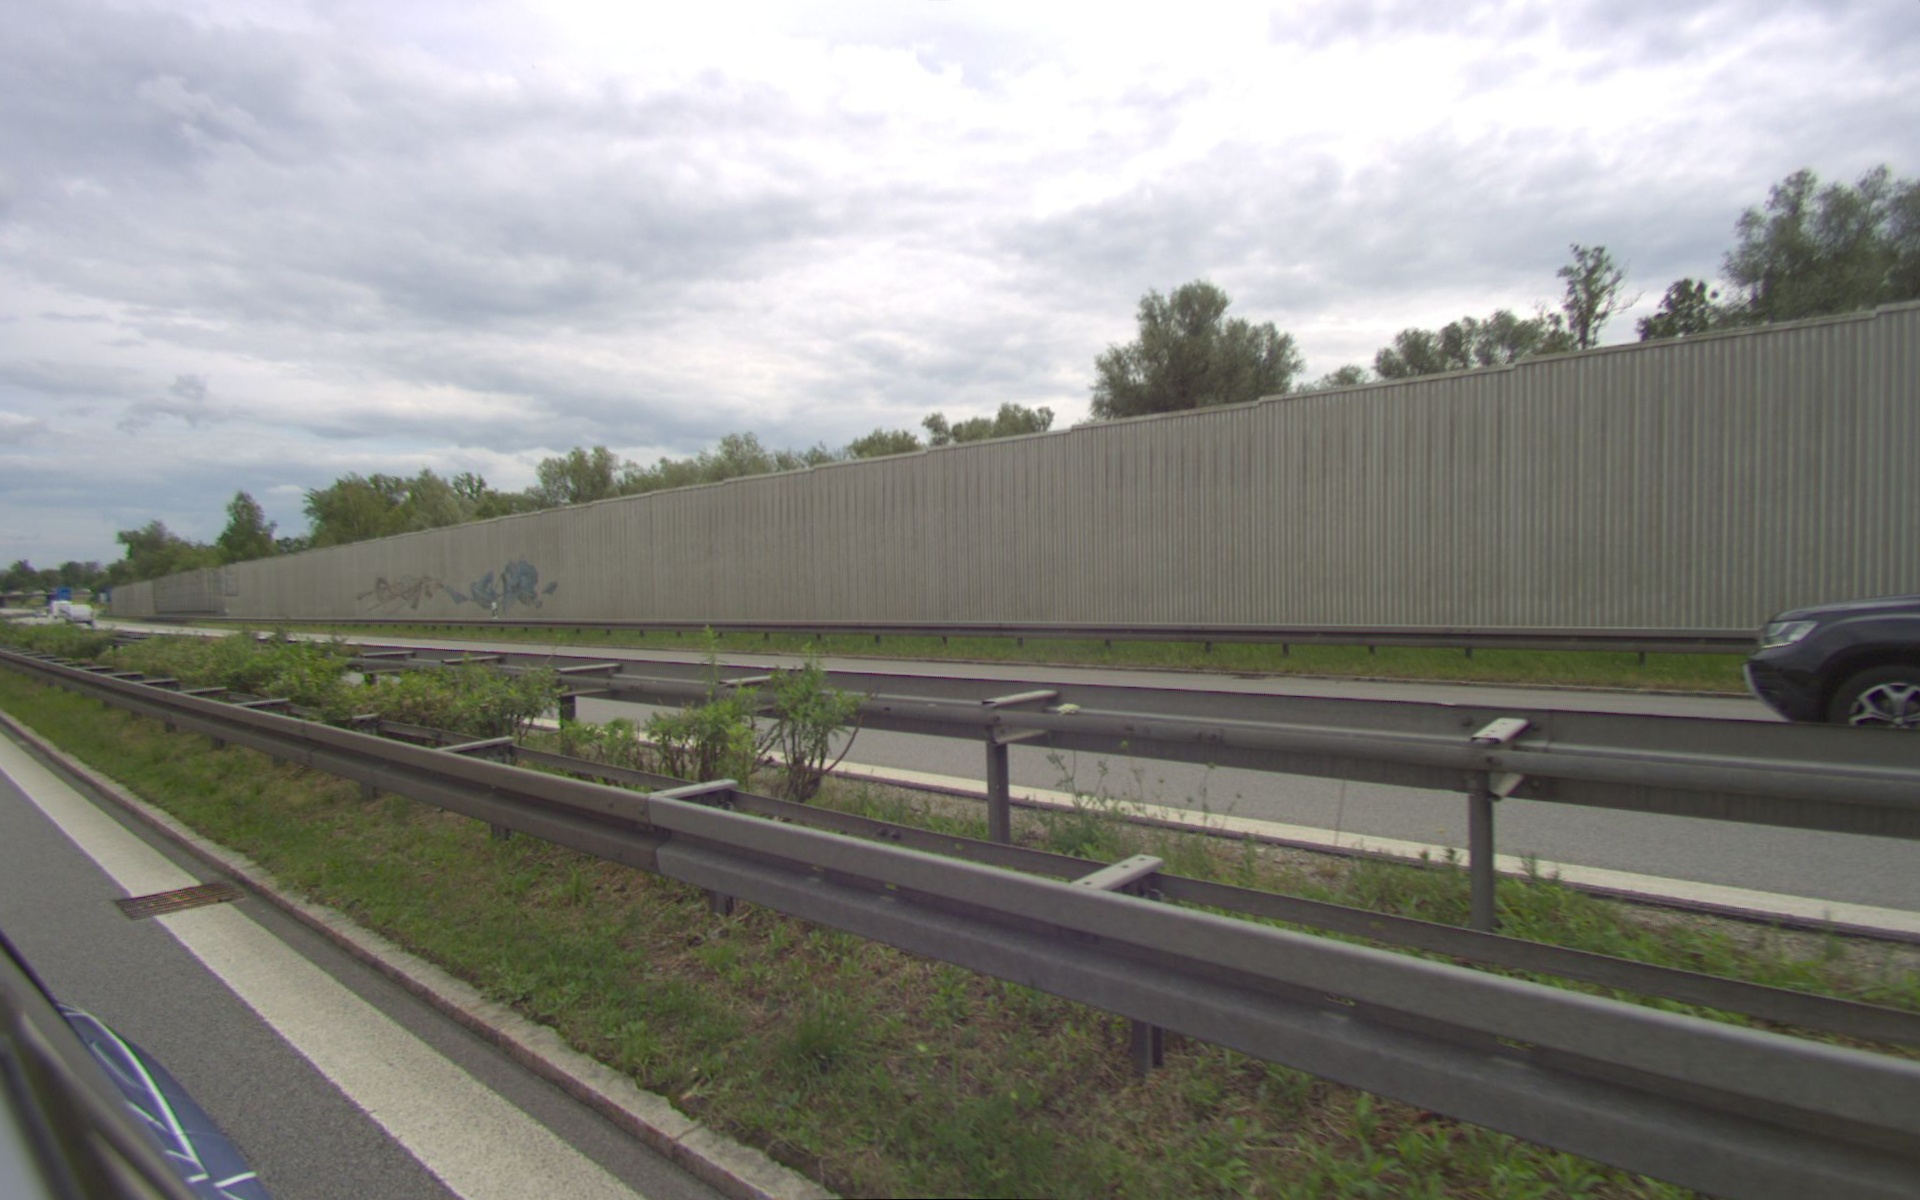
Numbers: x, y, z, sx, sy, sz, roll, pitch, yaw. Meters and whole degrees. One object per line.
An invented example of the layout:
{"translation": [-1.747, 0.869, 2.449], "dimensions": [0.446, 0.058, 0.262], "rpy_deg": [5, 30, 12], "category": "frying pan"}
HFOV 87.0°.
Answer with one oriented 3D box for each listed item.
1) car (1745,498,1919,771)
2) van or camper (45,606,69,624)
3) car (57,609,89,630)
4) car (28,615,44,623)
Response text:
{"translation": [7.521, 0.184, 5.769], "dimensions": [4.703, 1.654, 1.697], "rpy_deg": [-1, 0, 42], "category": "car"}
{"translation": [-149.765, 2.447, 167.902], "dimensions": [2.434, 2.891, 7.784], "rpy_deg": [0, 0, -38], "category": "van or camper"}
{"translation": [-78.878, 1.720, 89.978], "dimensions": [4.628, 1.758, 1.722], "rpy_deg": [-1, -1, 43], "category": "car"}
{"translation": [-167.994, 3.425, 183.979], "dimensions": [1.670, 1.431, 4.658], "rpy_deg": [0, -1, -36], "category": "car"}
